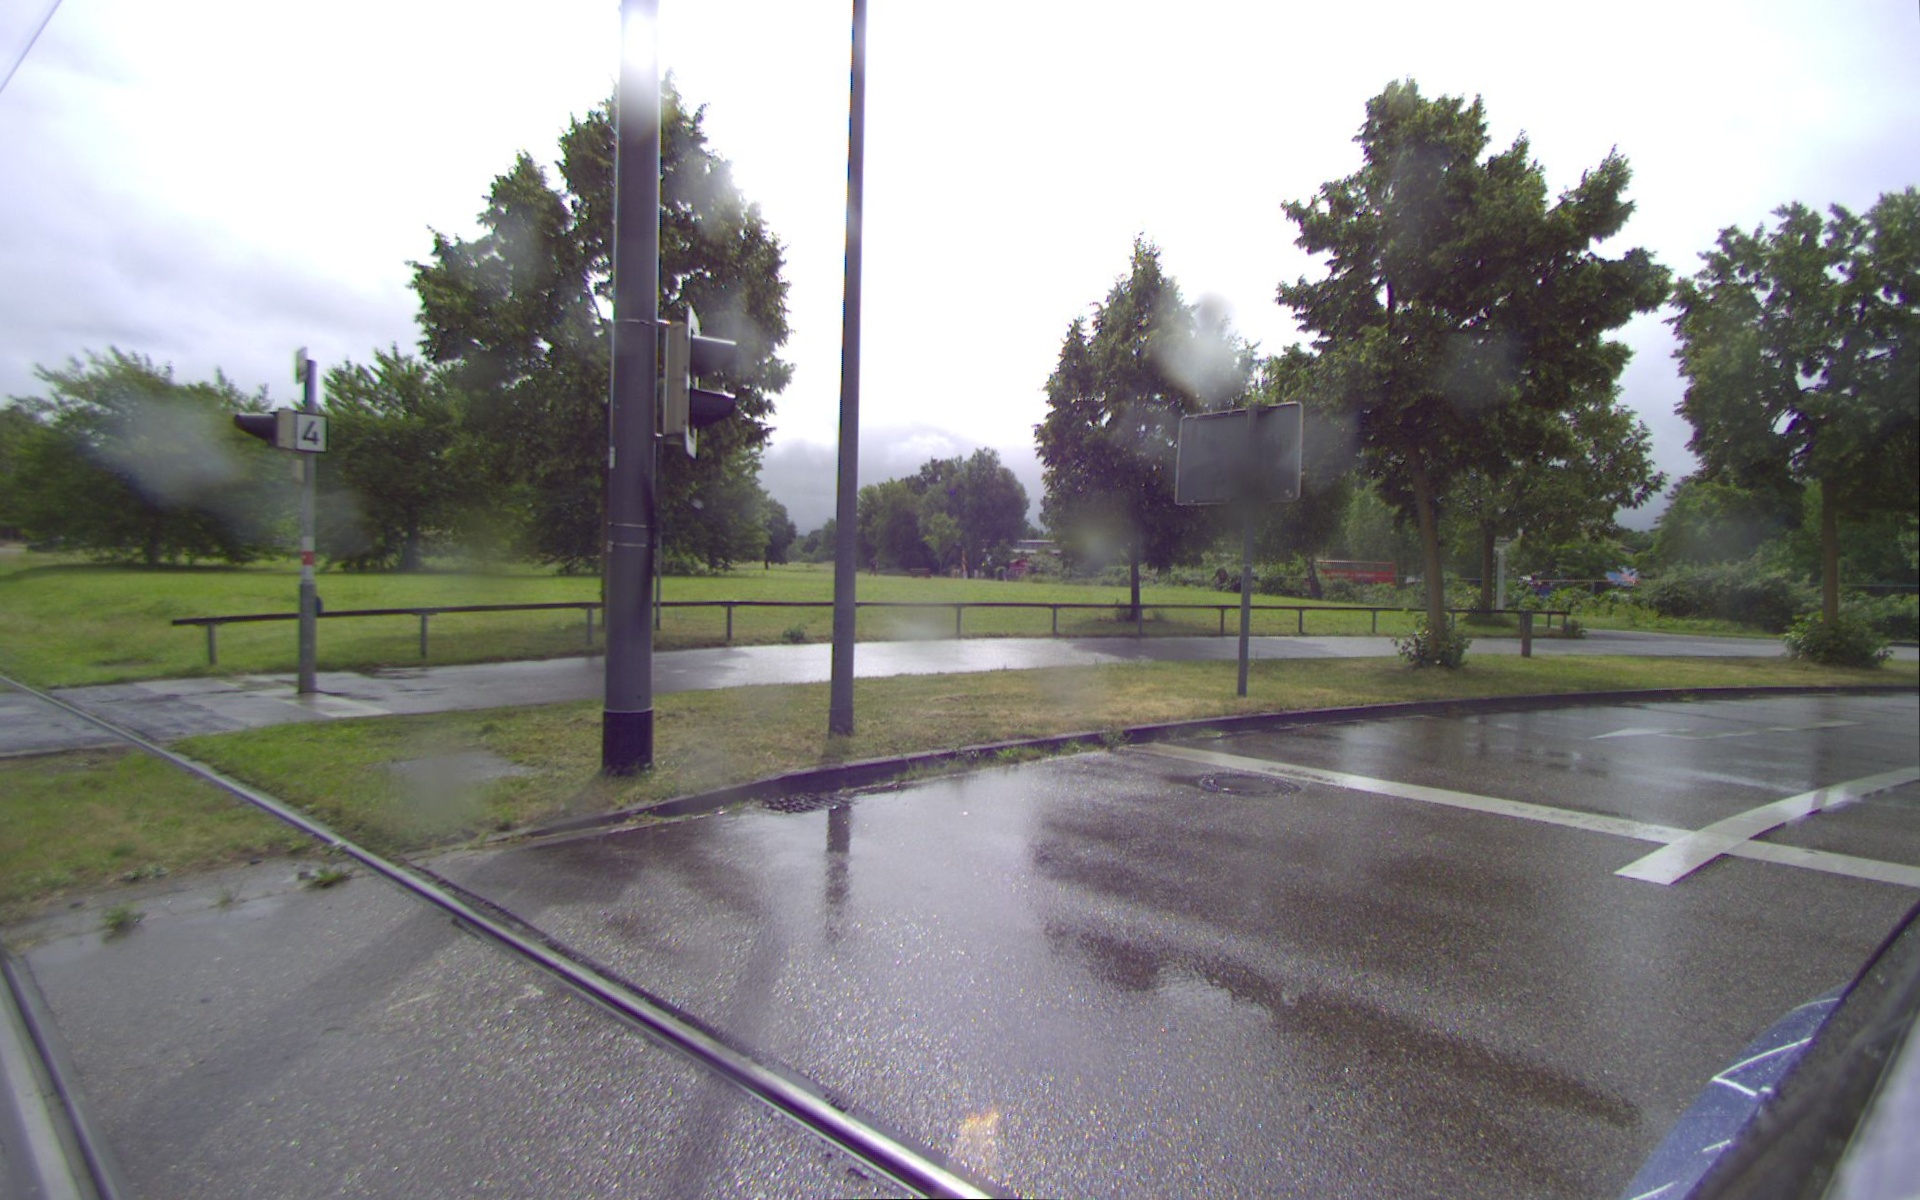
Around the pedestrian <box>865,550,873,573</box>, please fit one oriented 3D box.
[{"bbox_3d":[-7.301,-3.083,81.250,0.594,1.754,0.599,1,0,0],"label":"pedestrian"}]

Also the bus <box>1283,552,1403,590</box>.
[{"bbox_3d":[37.493,-2.875,99.393,10.881,3.504,1.981,1,0,28],"label":"bus"}]

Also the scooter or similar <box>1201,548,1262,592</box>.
[{"bbox_3d":[13.187,-1.418,49.239,1.214,2.039,3.416,1,0,-17],"label":"scooter or similar"}]

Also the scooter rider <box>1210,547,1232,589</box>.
[{"bbox_3d":[12.951,-1.596,50.175,0.691,2.039,0.772,1,0,-19],"label":"scooter rider"}]
